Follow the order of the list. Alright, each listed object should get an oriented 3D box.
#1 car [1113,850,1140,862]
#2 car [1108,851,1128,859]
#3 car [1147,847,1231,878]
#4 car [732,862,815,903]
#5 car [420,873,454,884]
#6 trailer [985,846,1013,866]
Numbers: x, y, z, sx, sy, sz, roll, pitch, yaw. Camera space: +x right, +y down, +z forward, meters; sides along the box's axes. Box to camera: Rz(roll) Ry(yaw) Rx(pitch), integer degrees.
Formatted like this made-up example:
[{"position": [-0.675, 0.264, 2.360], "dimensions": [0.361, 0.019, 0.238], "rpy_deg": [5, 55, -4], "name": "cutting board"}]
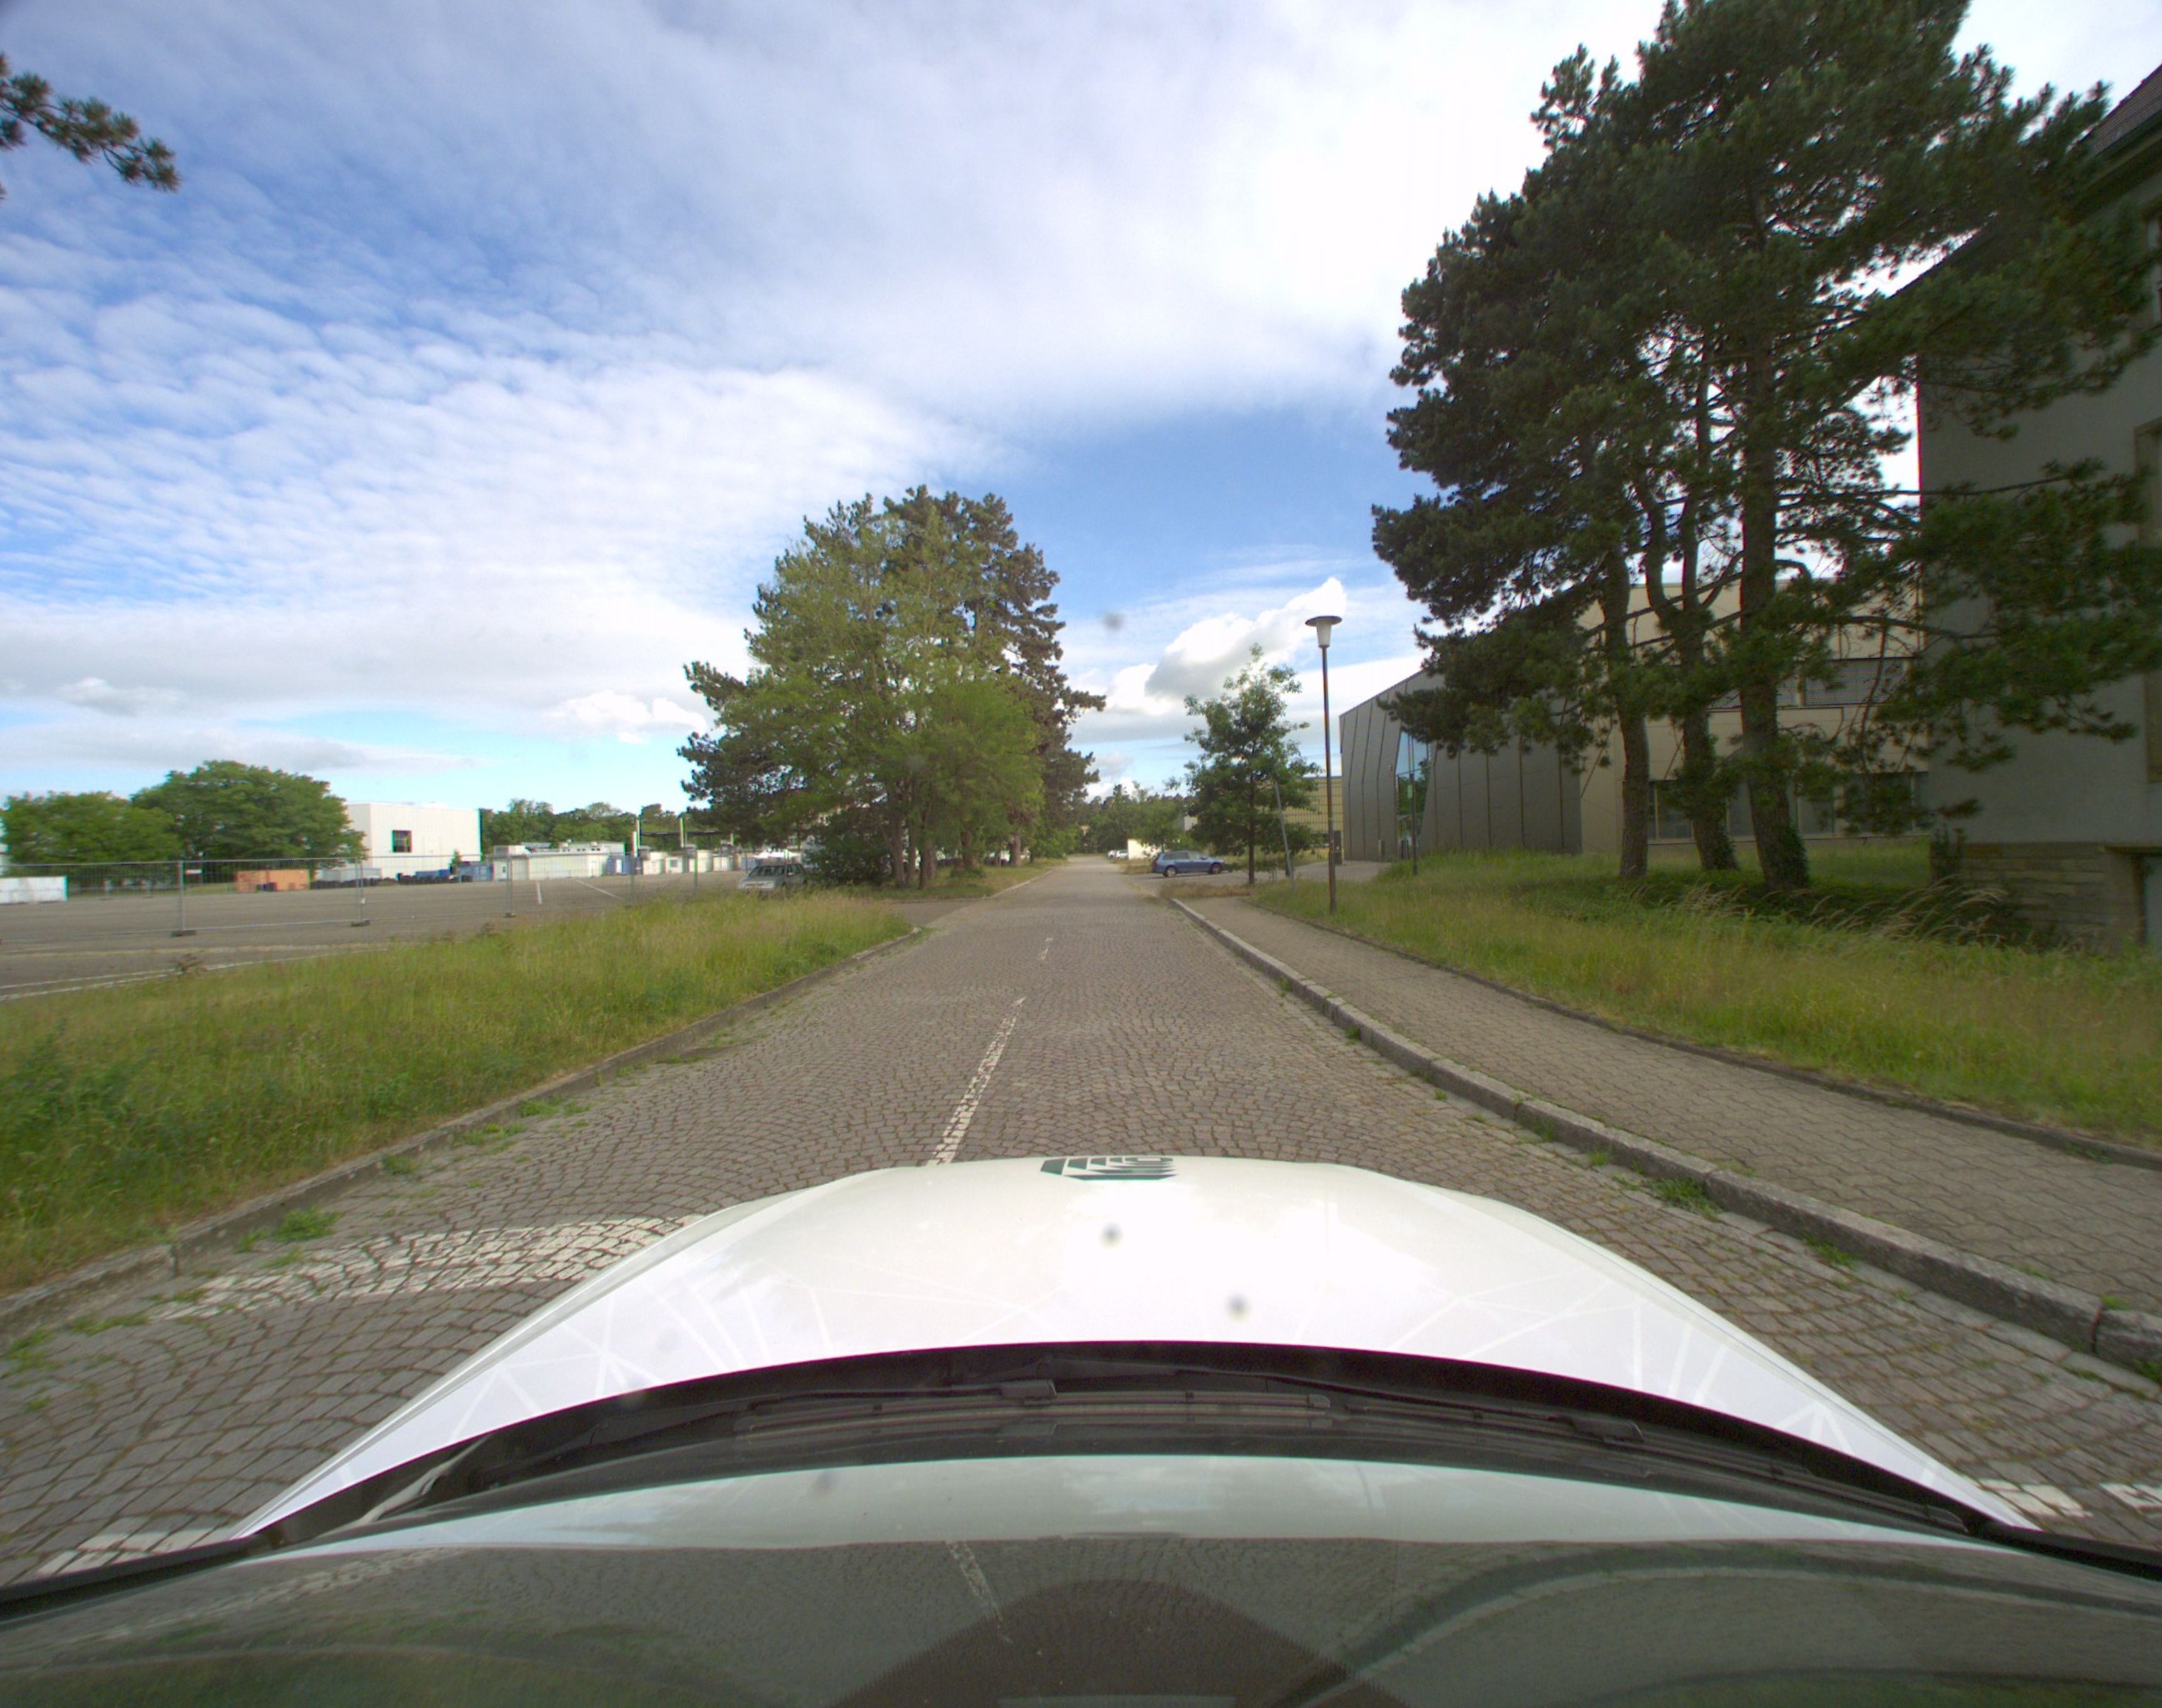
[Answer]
[{"position": [6.736, 0.329, 121.053], "dimensions": [3.840, 1.654, 1.685], "rpy_deg": [-2, 0, -3], "name": "car"}, {"position": [7.519, 0.129, 167.205], "dimensions": [4.010, 1.502, 1.548], "rpy_deg": [-2, 0, 1], "name": "car"}, {"position": [6.262, 0.471, 47.502], "dimensions": [4.512, 1.443, 1.821], "rpy_deg": [-4, 0, -3], "name": "car"}, {"position": [-12.361, 1.086, 33.027], "dimensions": [1.711, 1.438, 4.464], "rpy_deg": [-2, 0, -2], "name": "car"}, {"position": [-101.358, 3.867, 128.172], "dimensions": [3.956, 1.533, 1.629], "rpy_deg": [-2, 0, -2], "name": "car"}, {"position": [-13.391, 0.317, 133.731], "dimensions": [3.146, 3.067, 8.790], "rpy_deg": [-2, 0, 3], "name": "trailer"}]
